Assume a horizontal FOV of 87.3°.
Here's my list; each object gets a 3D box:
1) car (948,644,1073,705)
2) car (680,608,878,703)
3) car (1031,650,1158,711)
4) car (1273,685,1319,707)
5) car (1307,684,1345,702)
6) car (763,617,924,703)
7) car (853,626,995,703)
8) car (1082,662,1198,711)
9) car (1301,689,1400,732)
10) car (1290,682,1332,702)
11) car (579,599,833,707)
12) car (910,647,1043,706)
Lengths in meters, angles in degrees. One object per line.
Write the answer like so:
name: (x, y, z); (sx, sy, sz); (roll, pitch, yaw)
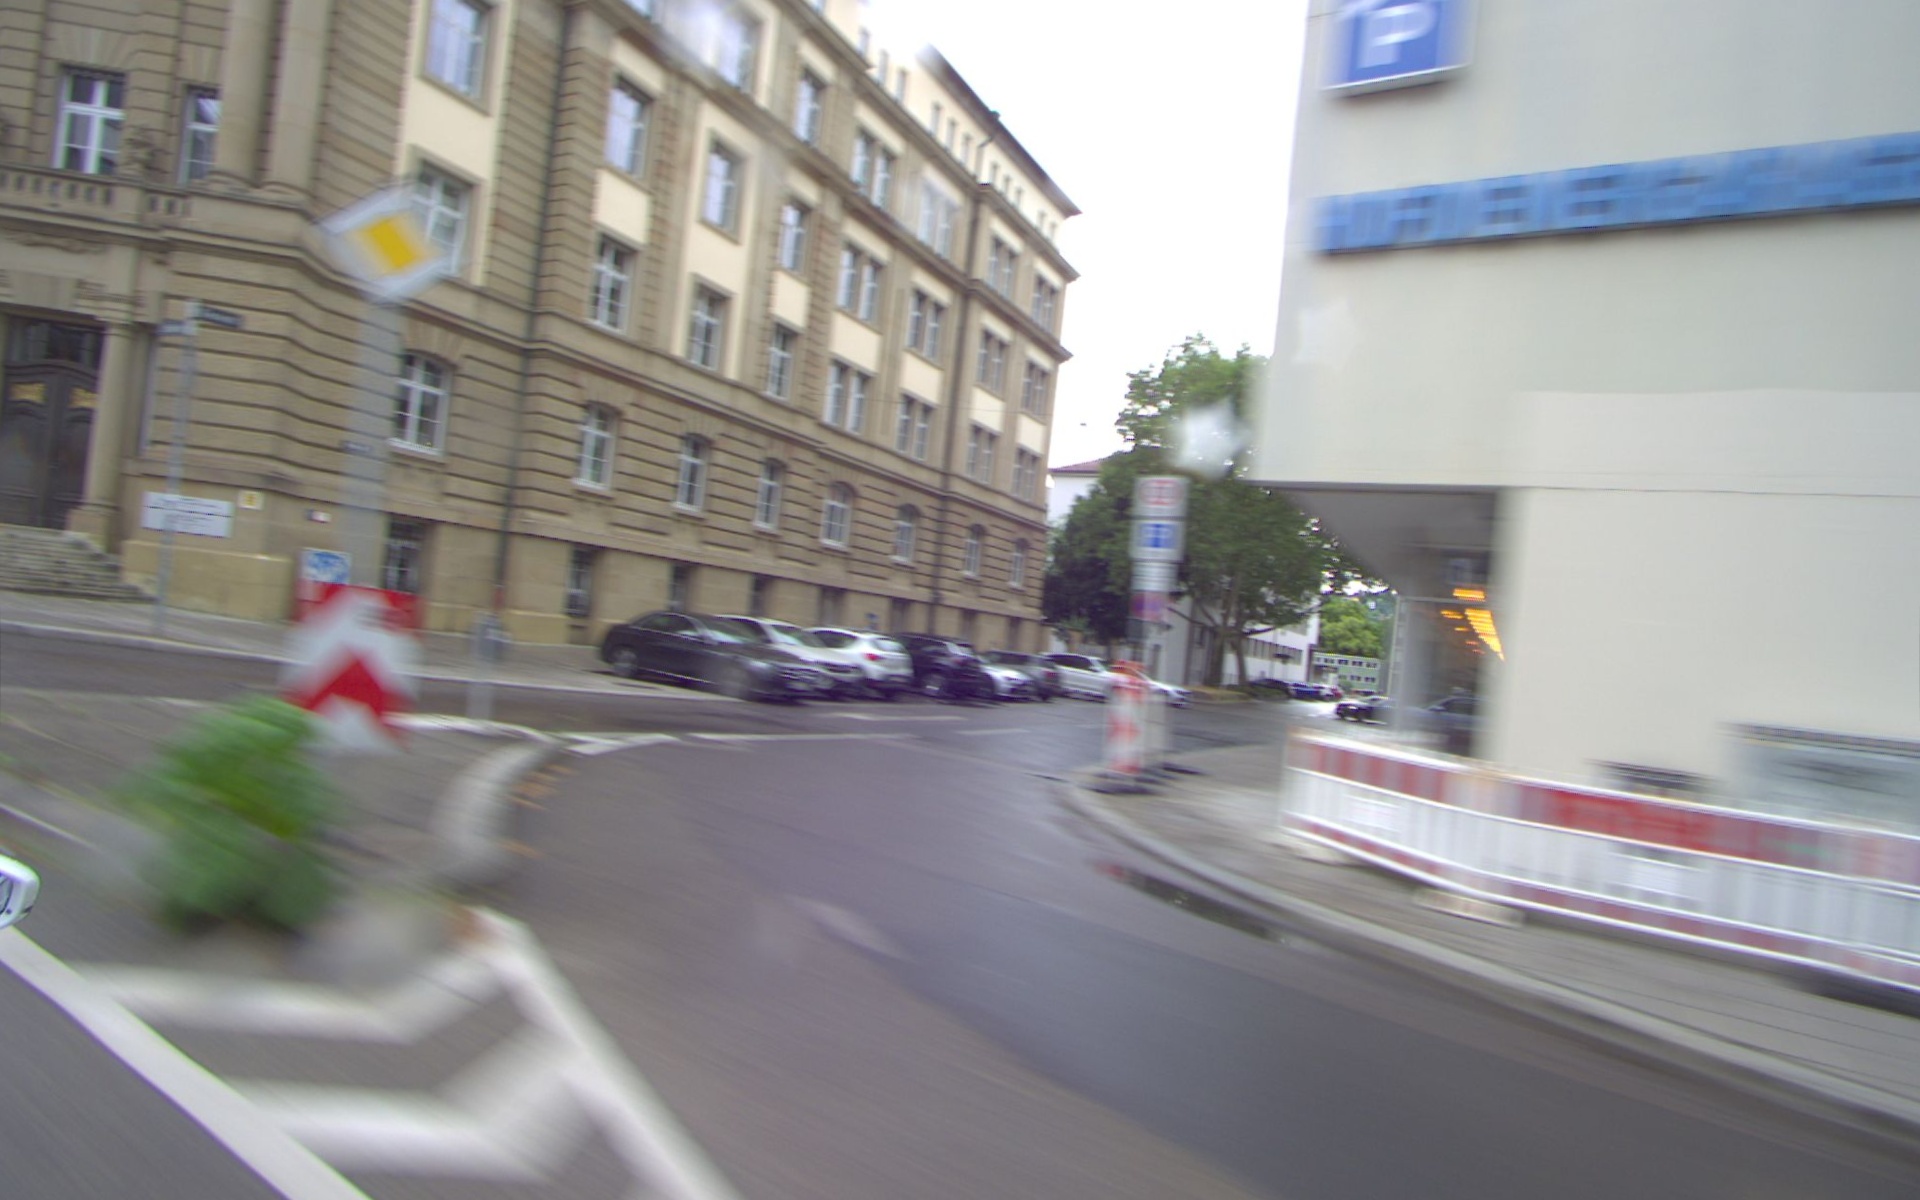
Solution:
car: (1.606, 2.381, 32.237); (3.521, 1.408, 1.683); (7, -2, 37)
car: (-4.050, 1.200, 22.193); (4.264, 1.472, 1.736); (7, -2, 37)
car: (5.058, 3.038, 38.152); (4.320, 1.622, 1.683); (7, -2, 35)
car: (29.970, 8.583, 89.822); (3.518, 1.373, 1.689); (8, -2, 11)
car: (39.602, 10.064, 108.826); (3.518, 1.373, 1.689); (8, -2, 11)
car: (-2.836, 1.425, 24.236); (3.521, 1.534, 1.683); (7, -2, 37)
car: (-1.024, 1.787, 27.982); (3.521, 1.594, 1.683); (7, -2, 37)
car: (7.495, 3.619, 42.035); (4.320, 1.373, 1.683); (7, -2, 35)
car: (20.465, 5.791, 52.752); (4.323, 1.529, 1.996); (9, -2, -12)
car: (34.151, 8.932, 98.061); (3.518, 1.373, 1.689); (8, -2, 11)
car: (-5.023, 1.008, 19.641); (4.918, 1.383, 1.738); (7, -2, 31)
car: (0.477, 2.253, 29.861); (3.521, 1.208, 1.683); (7, -2, 37)
